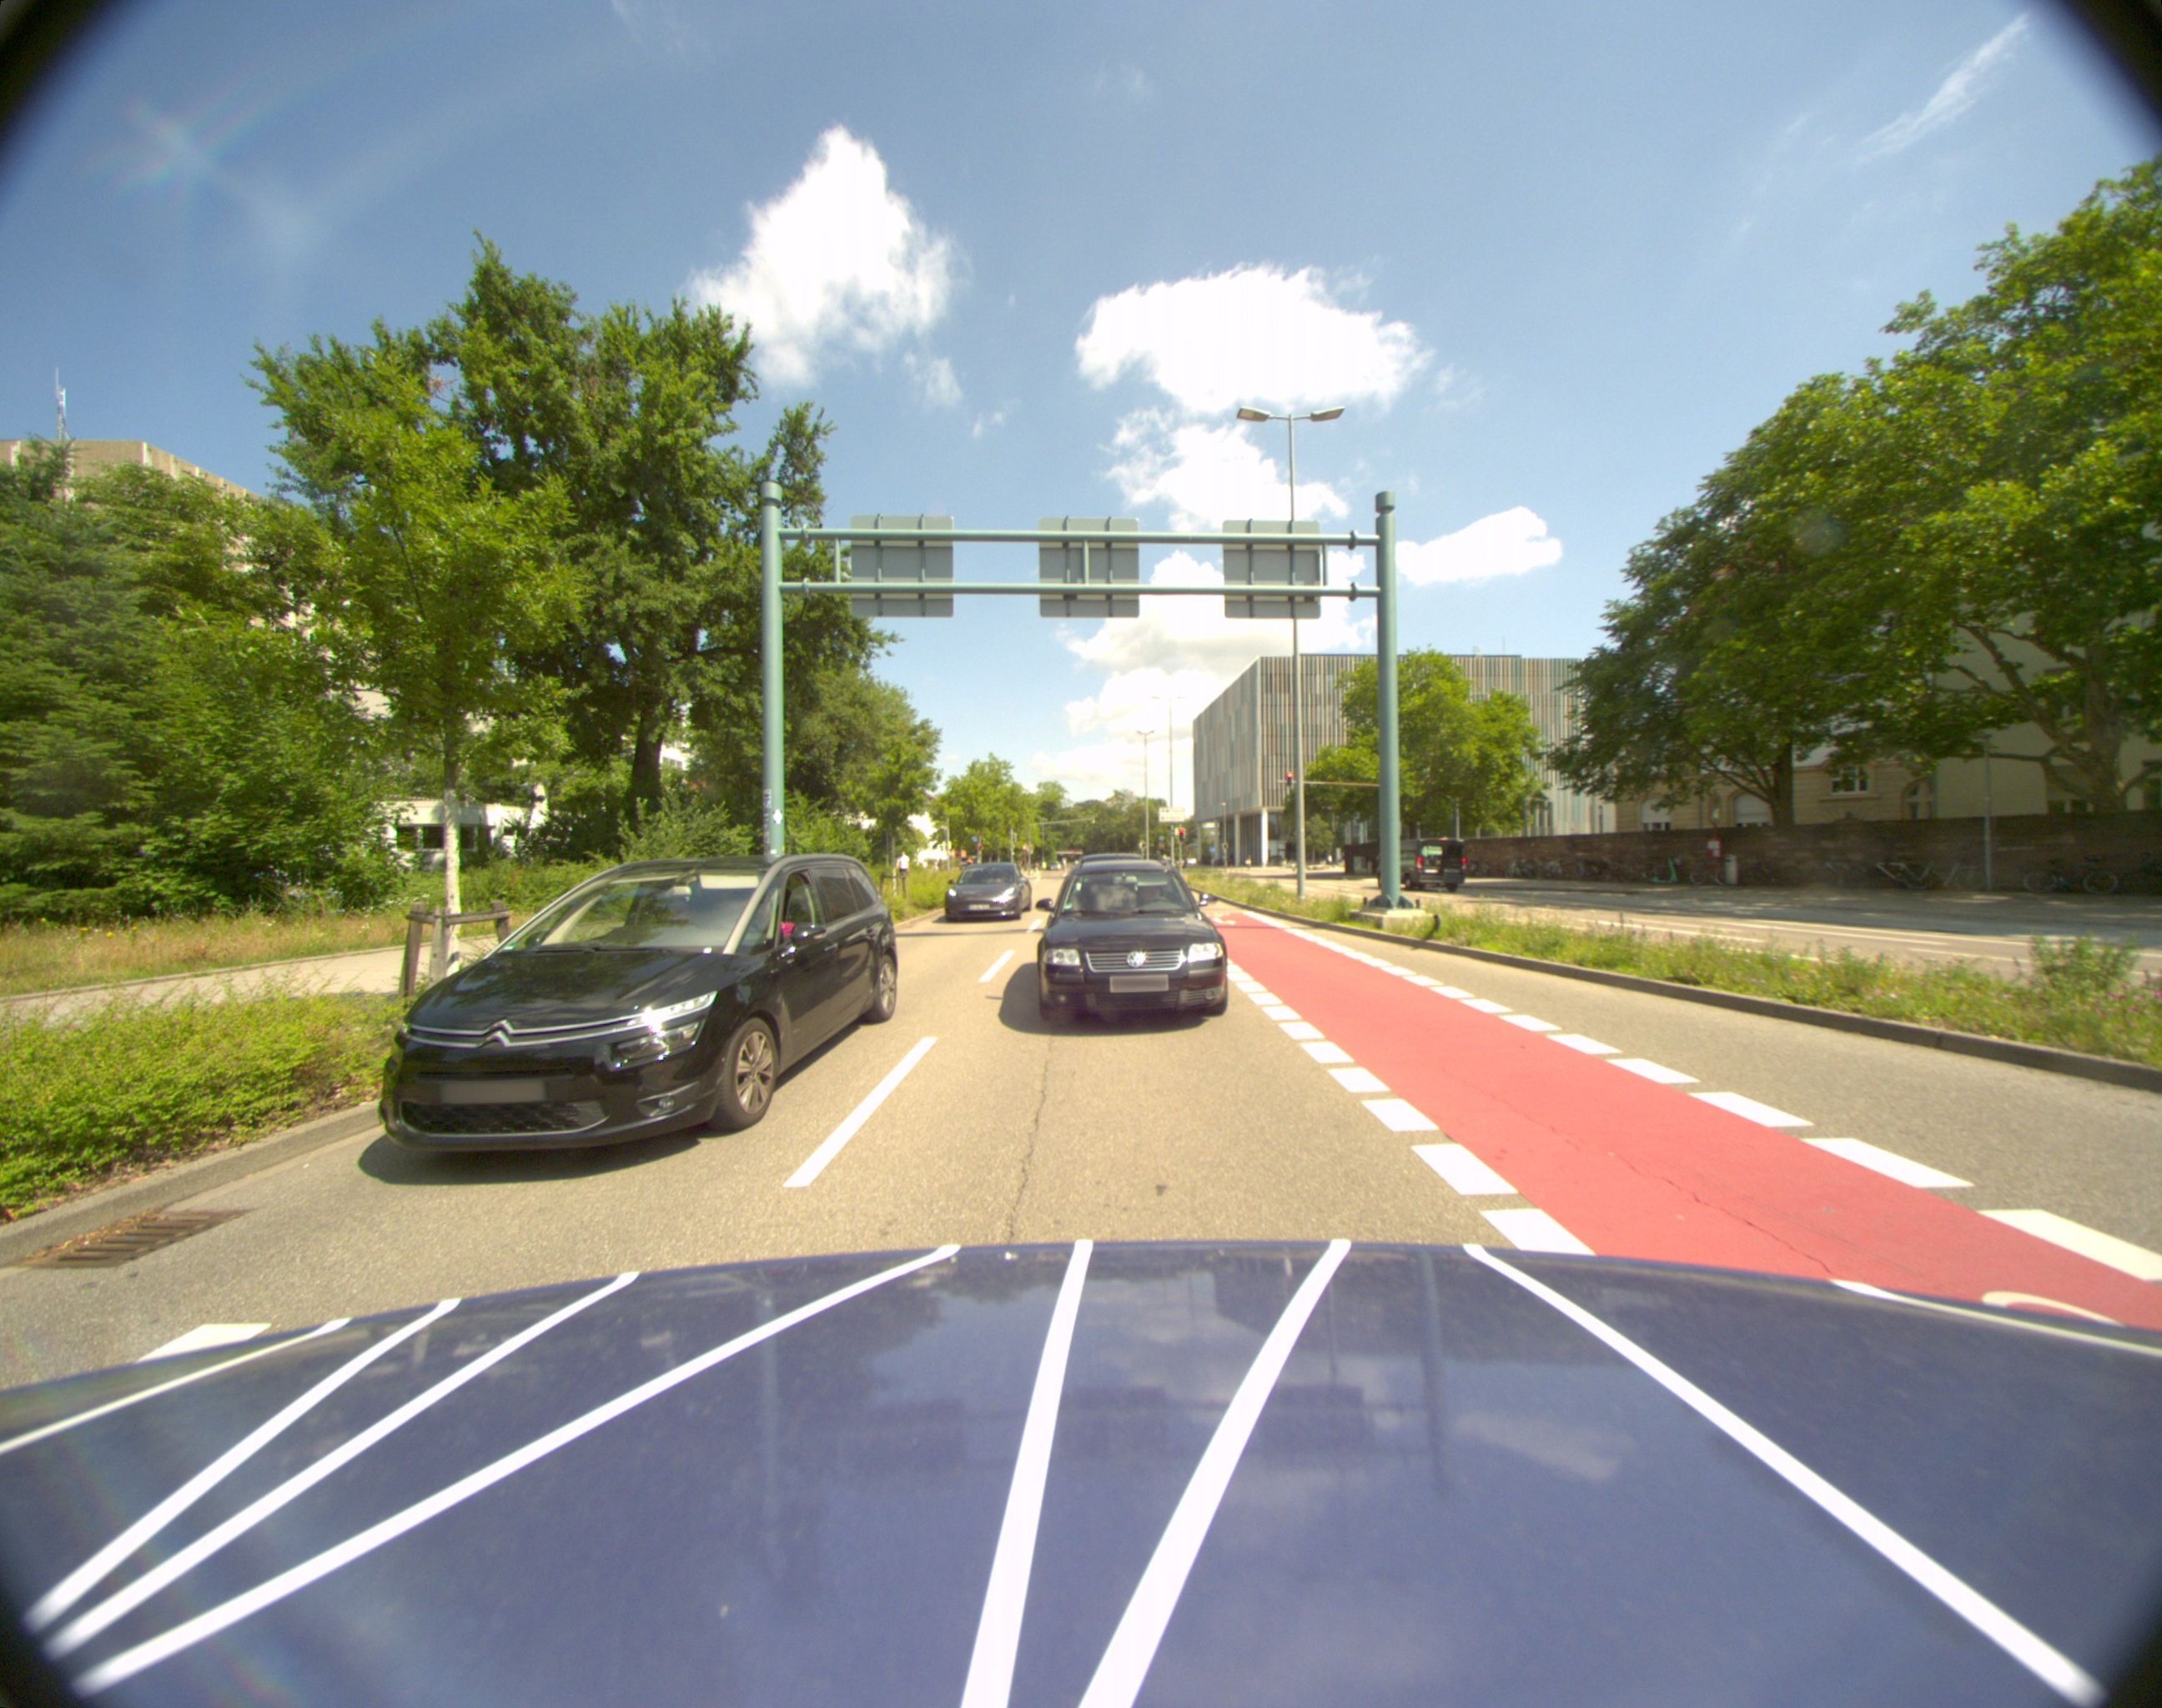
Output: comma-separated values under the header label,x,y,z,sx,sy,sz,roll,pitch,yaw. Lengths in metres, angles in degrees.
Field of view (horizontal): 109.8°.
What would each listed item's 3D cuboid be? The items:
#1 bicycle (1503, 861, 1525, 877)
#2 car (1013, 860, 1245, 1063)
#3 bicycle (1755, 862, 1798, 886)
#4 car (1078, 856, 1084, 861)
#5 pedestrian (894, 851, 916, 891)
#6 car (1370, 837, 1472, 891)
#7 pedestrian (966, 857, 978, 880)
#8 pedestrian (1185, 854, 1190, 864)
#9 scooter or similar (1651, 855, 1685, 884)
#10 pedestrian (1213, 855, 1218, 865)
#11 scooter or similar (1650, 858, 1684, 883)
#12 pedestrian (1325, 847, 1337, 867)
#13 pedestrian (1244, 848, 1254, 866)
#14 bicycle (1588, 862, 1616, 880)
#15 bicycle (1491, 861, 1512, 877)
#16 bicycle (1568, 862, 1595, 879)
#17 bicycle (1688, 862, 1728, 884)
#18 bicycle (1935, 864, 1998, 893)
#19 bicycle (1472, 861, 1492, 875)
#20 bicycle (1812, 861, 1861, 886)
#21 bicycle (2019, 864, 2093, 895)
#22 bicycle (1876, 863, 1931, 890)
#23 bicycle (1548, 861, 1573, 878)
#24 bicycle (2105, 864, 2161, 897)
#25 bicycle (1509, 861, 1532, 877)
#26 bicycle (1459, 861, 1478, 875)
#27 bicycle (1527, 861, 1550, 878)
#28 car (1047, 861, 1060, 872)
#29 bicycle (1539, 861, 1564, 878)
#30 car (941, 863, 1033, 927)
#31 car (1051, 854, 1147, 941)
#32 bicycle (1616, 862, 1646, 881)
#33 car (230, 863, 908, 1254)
label,x,y,z,sx,sy,sz,roll,pitch,yaw
bicycle,22.852,0.795,40.090,0.265,0.826,1.234,-1,0,-11
car,0.400,0.849,8.158,1.723,1.472,4.594,-3,0,1
bicycle,25.188,0.706,27.526,0.265,0.826,1.235,-1,0,-11
car,-0.053,1.614,251.453,1.758,1.581,4.275,-1,0,-4
pedestrian,-9.136,0.868,39.418,0.845,2.026,0.902,-1,0,4
car,14.753,0.428,33.346,2.153,2.162,5.018,1,0,0
pedestrian,-8.302,1.113,57.766,0.640,1.754,0.885,-1,0,-23
pedestrian,16.848,0.795,120.120,0.793,1.681,0.706,-1,0,1
scooter or similar,23.902,0.621,30.959,0.265,1.182,1.234,-1,0,-11
pedestrian,19.678,0.930,111.189,0.696,1.445,0.689,-1,0,7
scooter or similar,24.574,0.674,31.857,0.266,1.014,1.140,-1,0,-22
pedestrian,25.562,0.289,77.701,0.994,2.002,0.864,-1,0,1
pedestrian,19.798,0.360,89.591,0.864,2.002,0.995,-1,0,-1
bicycle,23.963,0.784,34.965,0.265,0.826,1.235,-1,0,-11
bicycle,23.152,0.817,41.809,0.265,0.826,1.234,-1,0,-11
bicycle,23.869,0.778,36.241,0.265,0.826,1.235,-1,0,-11
bicycle,24.818,0.738,30.086,0.265,0.826,1.233,-1,0,-21
bicycle,26.242,0.720,22.535,0.265,0.826,1.235,-1,0,-11
bicycle,22.926,0.789,43.436,0.265,0.826,1.234,-1,0,-11
bicycle,25.694,0.638,25.859,0.265,0.826,1.235,-1,0,-11
bicycle,26.640,0.680,20.780,0.265,0.826,1.234,-1,0,-13
bicycle,26.015,0.699,24.052,0.265,0.826,1.235,-1,0,-11
bicycle,23.658,0.748,37.497,0.265,0.826,1.235,-1,0,-11
bicycle,27.127,0.671,19.353,0.265,0.826,1.234,-1,0,-13
bicycle,23.353,0.789,40.378,0.265,0.826,1.234,-1,0,-11
bicycle,22.834,0.814,44.765,0.265,0.826,1.235,-1,0,-11
bicycle,23.468,0.786,39.004,0.265,0.826,1.235,-1,0,-11
car,-4.333,1.949,122.138,1.816,1.598,4.479,-3,0,1
bicycle,23.243,0.748,37.544,0.265,0.826,1.234,-1,0,-11
car,-2.332,0.998,19.915,1.806,1.361,4.157,-1,1,1
car,0.363,0.824,16.494,1.723,1.545,4.594,-3,0,1
bicycle,24.147,0.770,33.377,0.265,0.826,1.235,-1,0,-11
car,-2.749,0.924,5.560,1.816,1.598,4.479,-3,0,1
